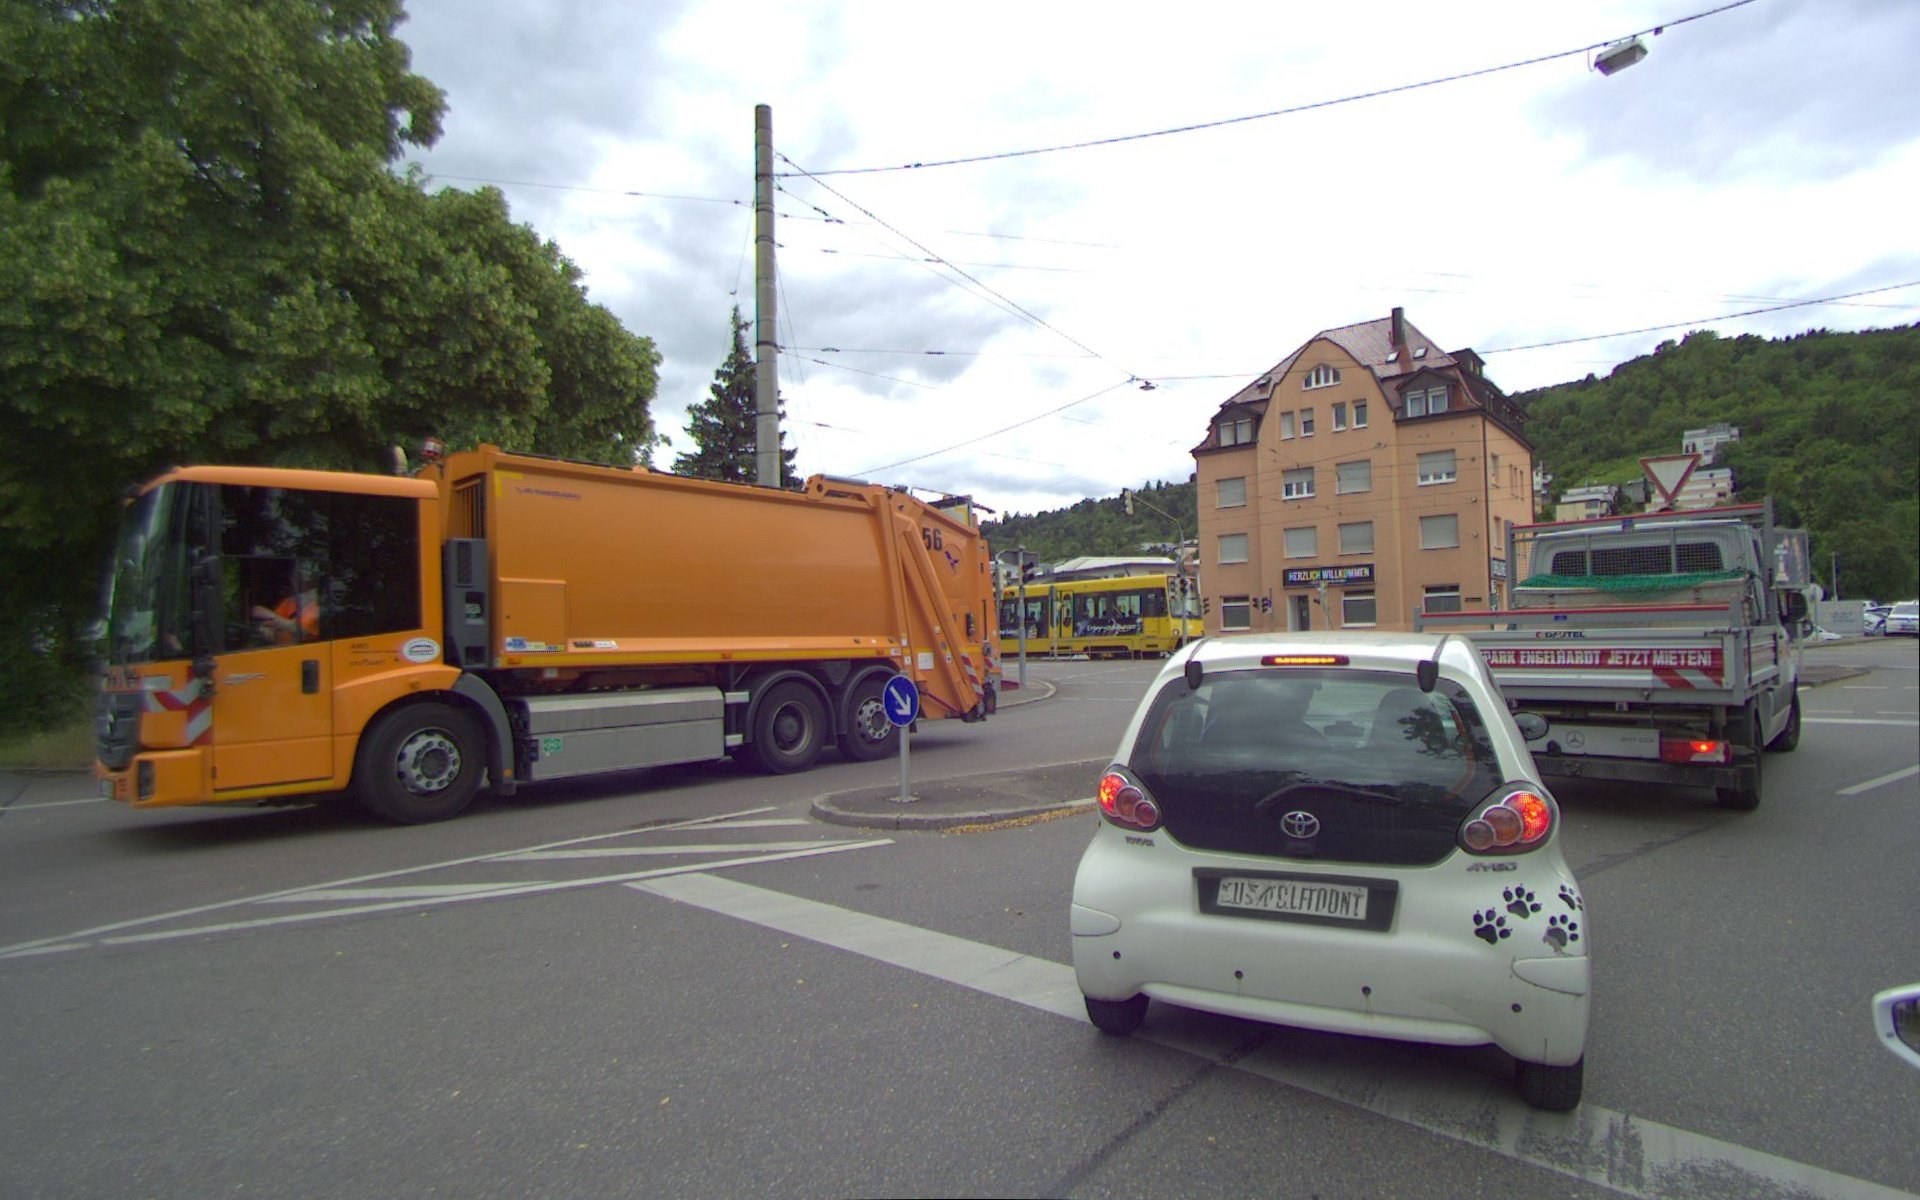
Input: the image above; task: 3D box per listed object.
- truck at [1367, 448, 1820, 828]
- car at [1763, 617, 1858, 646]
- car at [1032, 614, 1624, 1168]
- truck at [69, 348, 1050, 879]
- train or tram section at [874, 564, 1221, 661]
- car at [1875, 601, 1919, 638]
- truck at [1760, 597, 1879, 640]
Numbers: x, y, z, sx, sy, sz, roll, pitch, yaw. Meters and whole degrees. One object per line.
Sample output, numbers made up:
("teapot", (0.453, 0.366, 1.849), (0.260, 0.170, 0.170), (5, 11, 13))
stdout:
("truck", (6.251, 0.328, 9.443), (2.397, 2.429, 5.993), (-4, -3, 43))
("car", (50.103, 1.868, 59.236), (4.158, 1.553, 1.766), (-4, -3, 43))
("car", (1.724, 0.846, 4.555), (1.613, 1.451, 3.428), (-3, -3, 25))
("truck", (-3.174, 0.114, 11.572), (2.757, 3.573, 10.366), (-2, -1, 41))
("train or tram section", (3.166, 0.915, 47.626), (3.255, 3.714, 18.932), (0, -3, -43))
("car", (49.160, 1.001, 52.248), (4.369, 1.841, 1.843), (0, -3, -42))
("truck", (52.371, 1.143, 61.352), (5.108, 2.424, 1.996), (-3, -2, 30))
